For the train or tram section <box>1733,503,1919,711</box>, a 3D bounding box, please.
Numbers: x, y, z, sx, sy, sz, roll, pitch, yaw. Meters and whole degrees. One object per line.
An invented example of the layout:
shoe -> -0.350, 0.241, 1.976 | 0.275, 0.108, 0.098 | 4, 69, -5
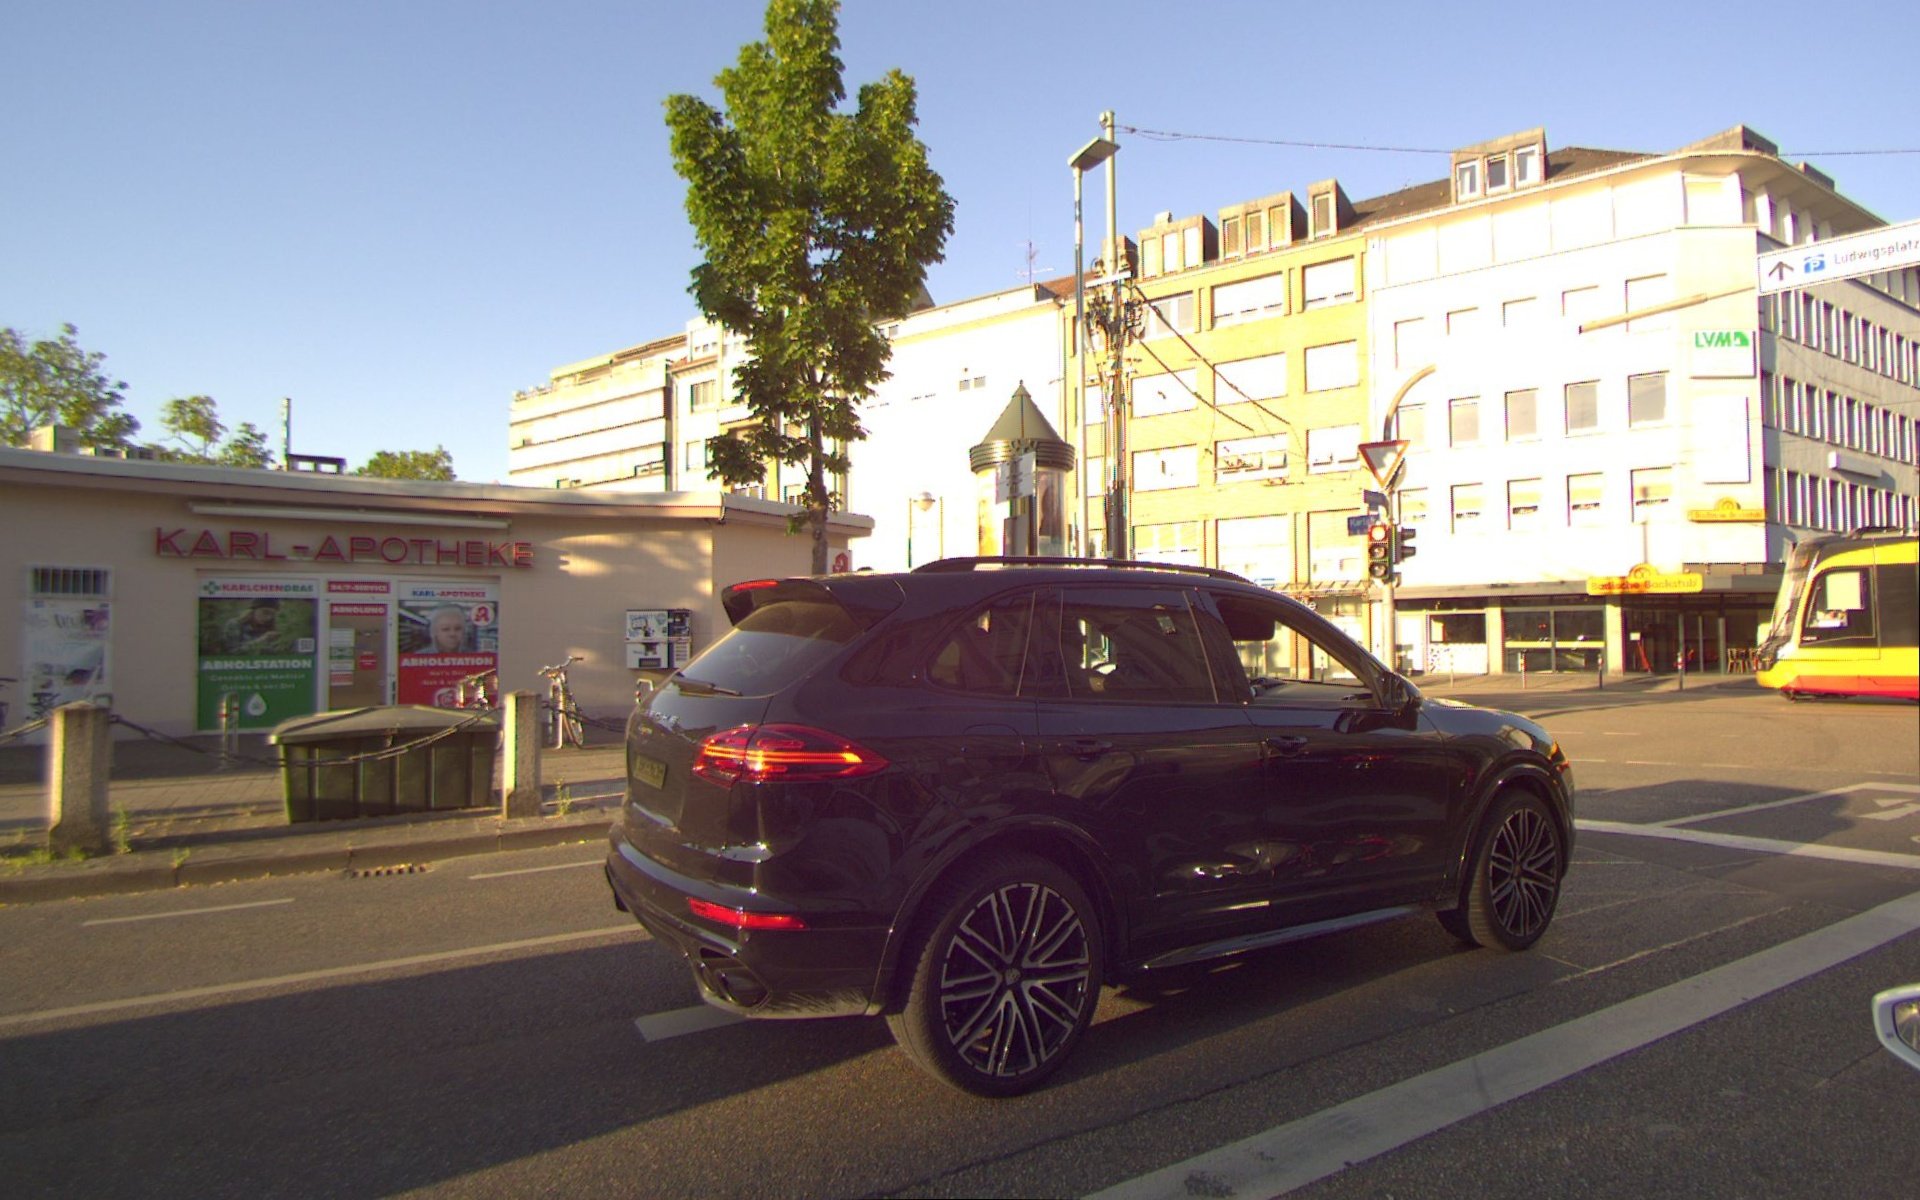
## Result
train or tram section -> 22.272, 0.036, 18.365 | 12.430, 3.915, 3.077 | -2, -3, 29

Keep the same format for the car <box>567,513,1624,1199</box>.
car -> 0.773, 0.720, 4.529 | 4.509, 1.736, 1.939 | 1, -3, -31

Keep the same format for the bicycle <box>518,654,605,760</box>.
bicycle -> -5.384, 1.374, 13.487 | 0.778, 1.273, 2.433 | 1, -3, -29

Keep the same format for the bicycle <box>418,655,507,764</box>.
bicycle -> -6.438, 1.349, 12.948 | 0.938, 1.273, 1.997 | 1, -3, -29

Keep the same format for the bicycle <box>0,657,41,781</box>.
bicycle -> -10.326, 1.241, 10.498 | 0.625, 1.273, 1.846 | 1, -3, -29
